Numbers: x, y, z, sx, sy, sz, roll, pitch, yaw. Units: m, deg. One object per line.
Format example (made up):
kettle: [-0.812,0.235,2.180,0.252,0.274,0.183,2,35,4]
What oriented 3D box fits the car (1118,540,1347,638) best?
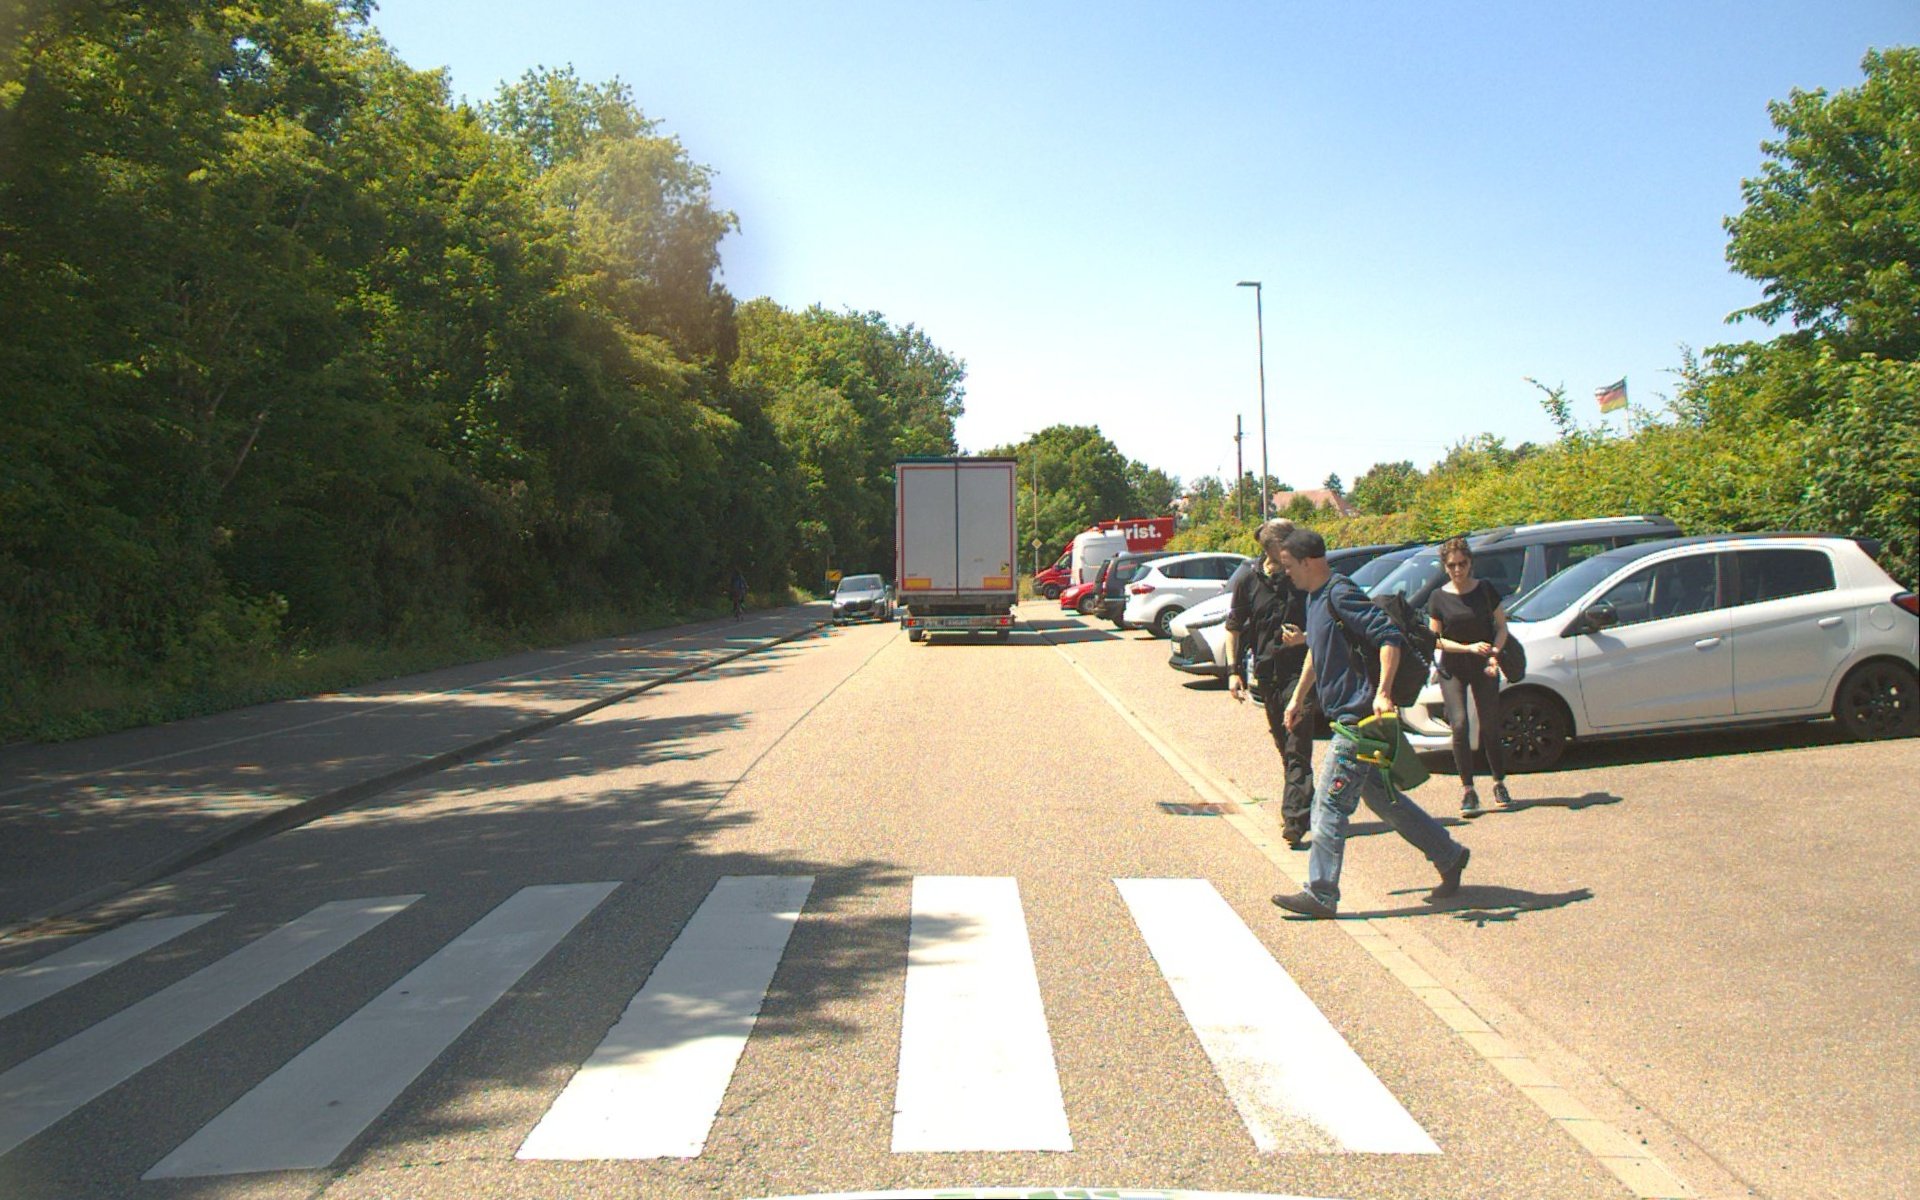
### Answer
car: [5.431,-0.237,33.285,4.191,1.605,1.765,-5,1,-2]

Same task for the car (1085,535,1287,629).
car: [5.344,-0.433,39.492,4.366,1.836,1.951,-5,1,-4]

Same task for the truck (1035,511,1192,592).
truck: [7.184,-2.243,76.969,6.984,3.499,2.333,-2,2,11]

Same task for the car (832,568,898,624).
car: [-3.050,-0.150,53.731,1.853,1.558,4.196,-6,1,-1]

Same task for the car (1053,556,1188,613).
car: [5.049,-0.513,52.354,3.974,1.458,1.835,-5,1,-3]

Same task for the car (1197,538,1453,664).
car: [5.195,-0.017,23.829,3.317,1.529,1.589,-4,2,3]

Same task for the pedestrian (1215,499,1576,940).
pedestrian: [1.953,0.485,7.521,1.139,1.782,1.017,-3,1,-21]

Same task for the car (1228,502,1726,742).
car: [4.612,0.160,15.036,3.885,1.668,1.662,-6,1,-6]

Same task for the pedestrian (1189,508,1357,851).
pedestrian: [1.873,0.424,9.786,0.765,1.897,1.086,0,1,23]

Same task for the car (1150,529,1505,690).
car: [4.548,0.088,20.829,3.888,1.549,1.862,-6,1,-6]

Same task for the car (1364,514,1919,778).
car: [4.998,0.296,12.148,3.613,1.475,1.611,-6,1,3]

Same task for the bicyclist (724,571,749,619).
bicyclist: [-7.536,-0.182,55.724,0.635,1.592,0.837,-2,1,4]

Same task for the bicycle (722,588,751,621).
bicycle: [-7.520,0.156,55.703,0.549,1.045,1.840,-2,1,4]

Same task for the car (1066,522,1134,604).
car: [5.238,-1.418,62.899,1.914,2.780,7.169,-4,1,1]

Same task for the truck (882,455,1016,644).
truck: [-0.141,-1.152,40.353,2.677,3.811,13.247,-1,1,1]

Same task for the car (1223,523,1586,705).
car: [4.766,0.121,17.963,3.387,1.553,1.538,-6,1,-5]

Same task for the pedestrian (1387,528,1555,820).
pedestrian: [3.074,0.424,9.908,0.762,1.639,0.896,-5,0,23]
